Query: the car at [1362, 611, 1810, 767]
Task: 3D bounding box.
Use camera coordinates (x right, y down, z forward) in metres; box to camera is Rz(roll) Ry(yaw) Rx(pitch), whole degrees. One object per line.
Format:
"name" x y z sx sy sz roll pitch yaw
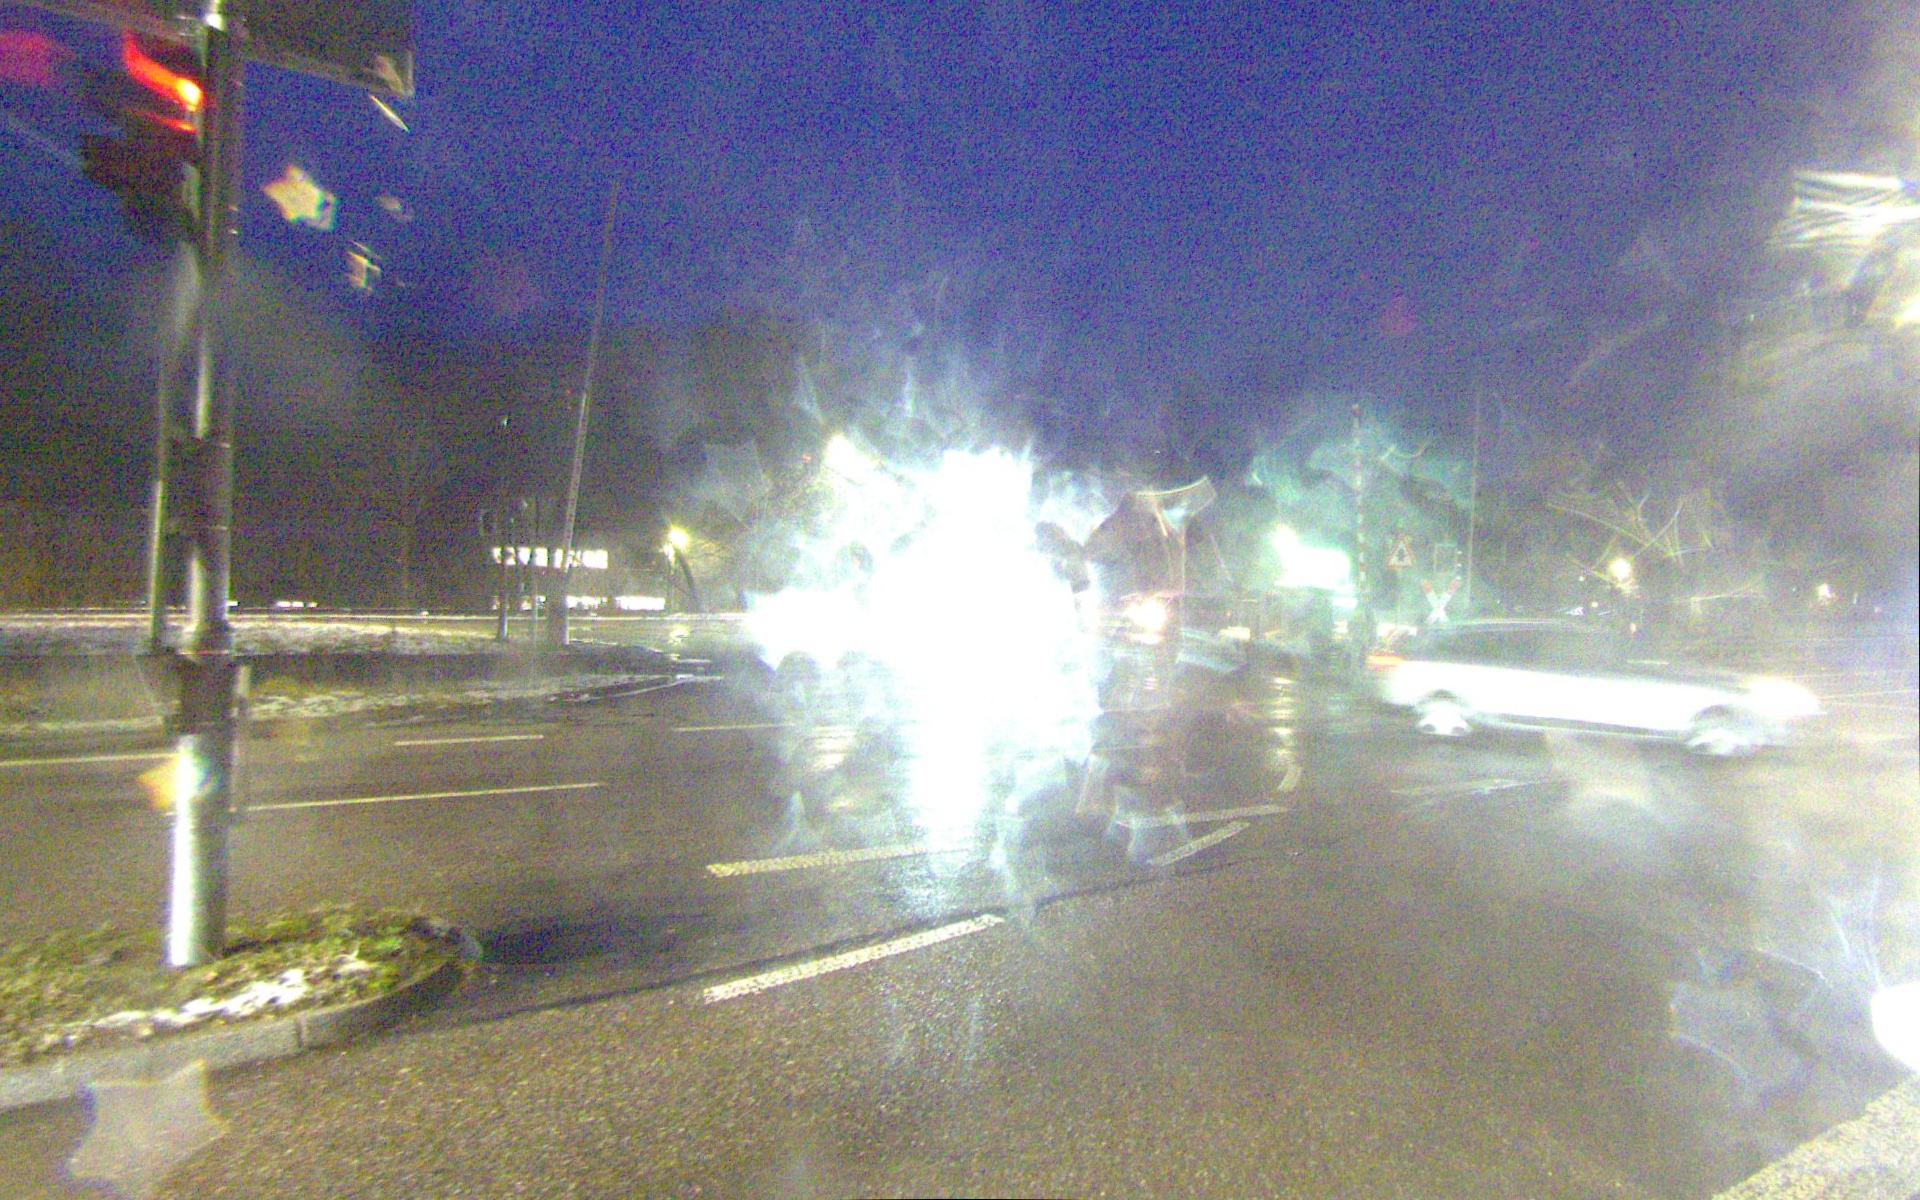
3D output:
"car" 7.248 0.928 12.024 4.301 1.538 1.511 0 0 34

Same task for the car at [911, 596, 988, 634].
"car" -0.401 0.635 43.957 1.695 1.539 3.995 2 0 27

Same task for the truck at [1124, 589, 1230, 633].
"truck" 12.226 0.623 56.405 5.945 2.302 1.985 2 0 -28

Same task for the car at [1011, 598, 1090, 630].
"car" 4.646 0.741 51.122 3.968 1.539 1.707 2 0 -41
